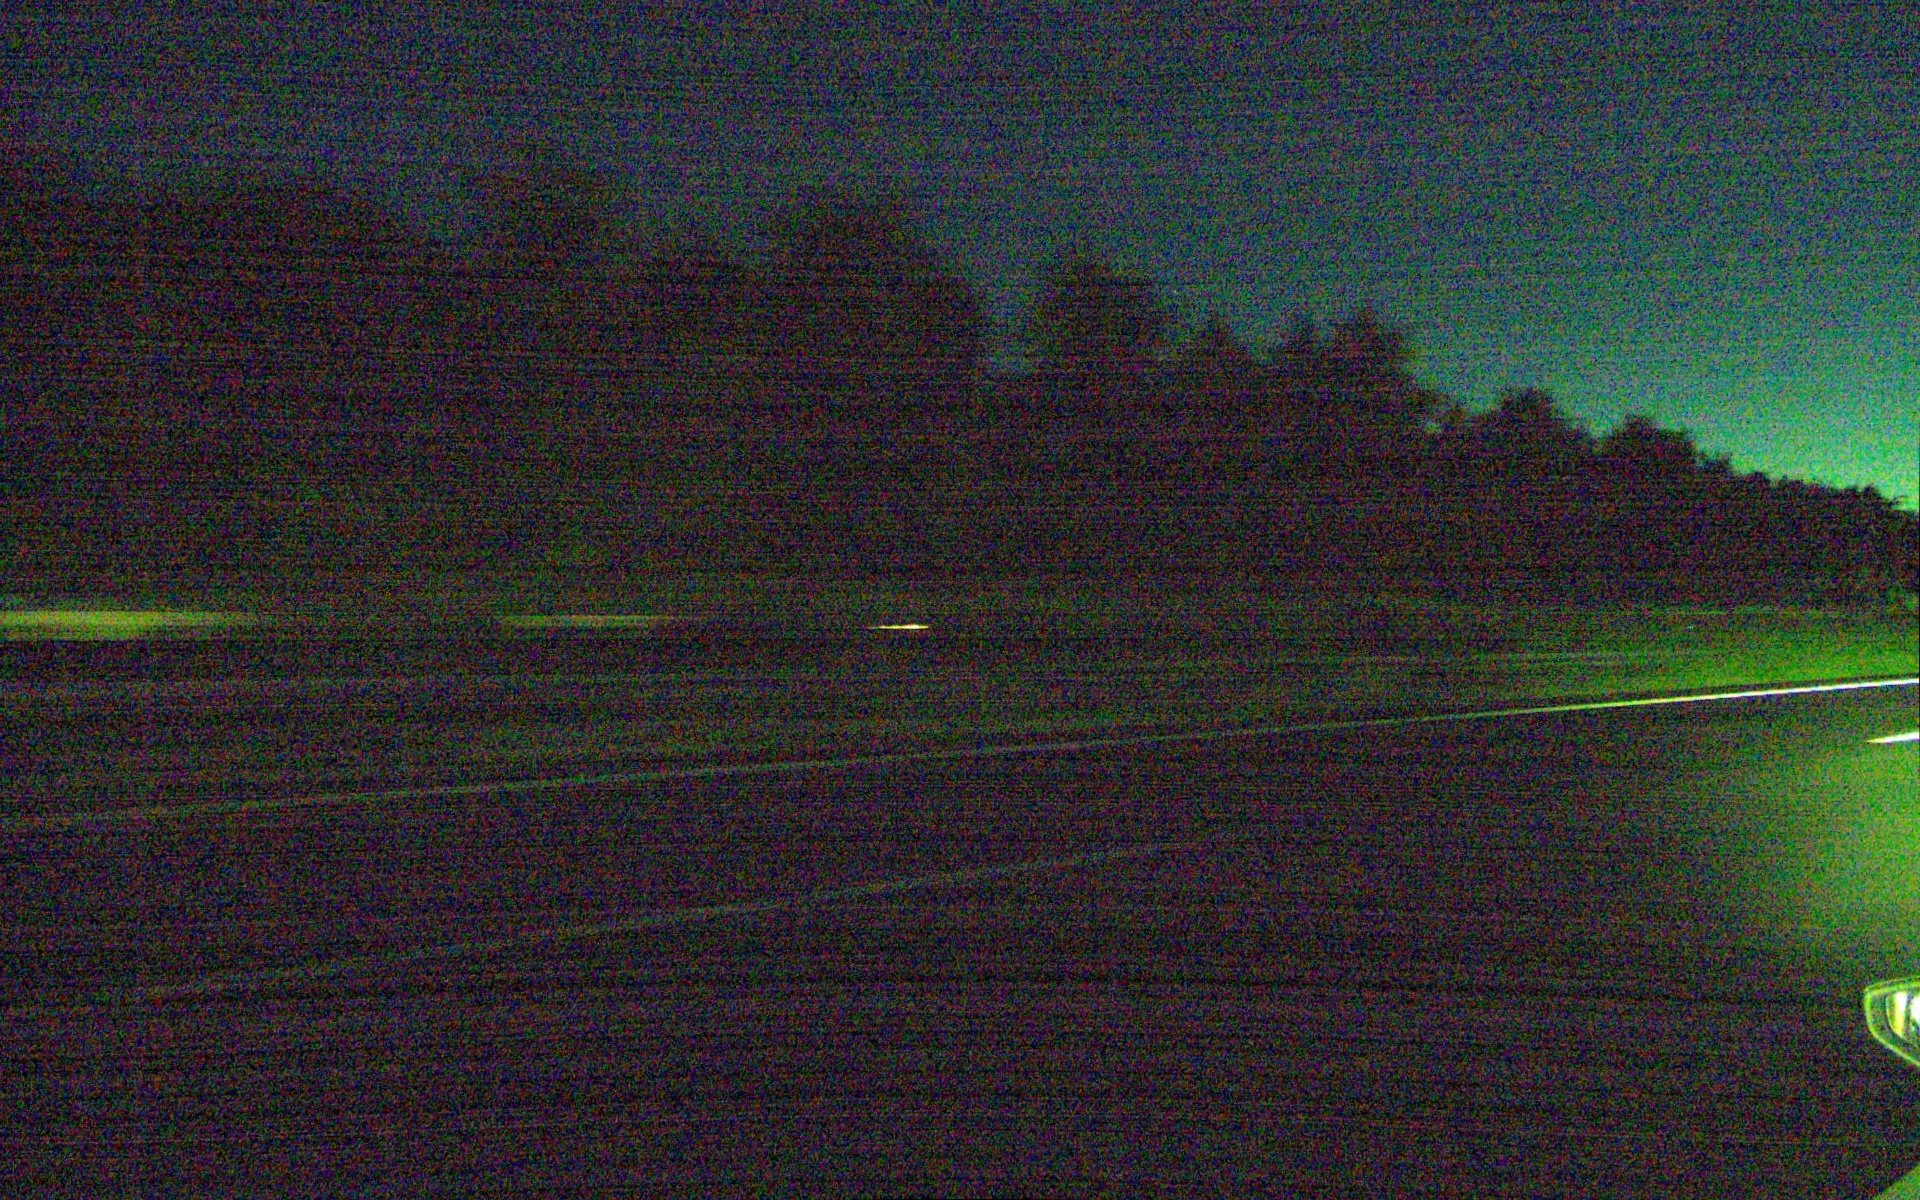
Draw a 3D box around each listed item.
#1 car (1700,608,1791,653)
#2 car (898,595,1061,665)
[{"bbox_3d":[34.869,1.338,44.571,4.033,1.879,1.982,1,0,-33],"label":"car"},{"bbox_3d":[0.549,0.793,27.325,4.033,1.749,1.982,1,0,-33],"label":"car"}]
